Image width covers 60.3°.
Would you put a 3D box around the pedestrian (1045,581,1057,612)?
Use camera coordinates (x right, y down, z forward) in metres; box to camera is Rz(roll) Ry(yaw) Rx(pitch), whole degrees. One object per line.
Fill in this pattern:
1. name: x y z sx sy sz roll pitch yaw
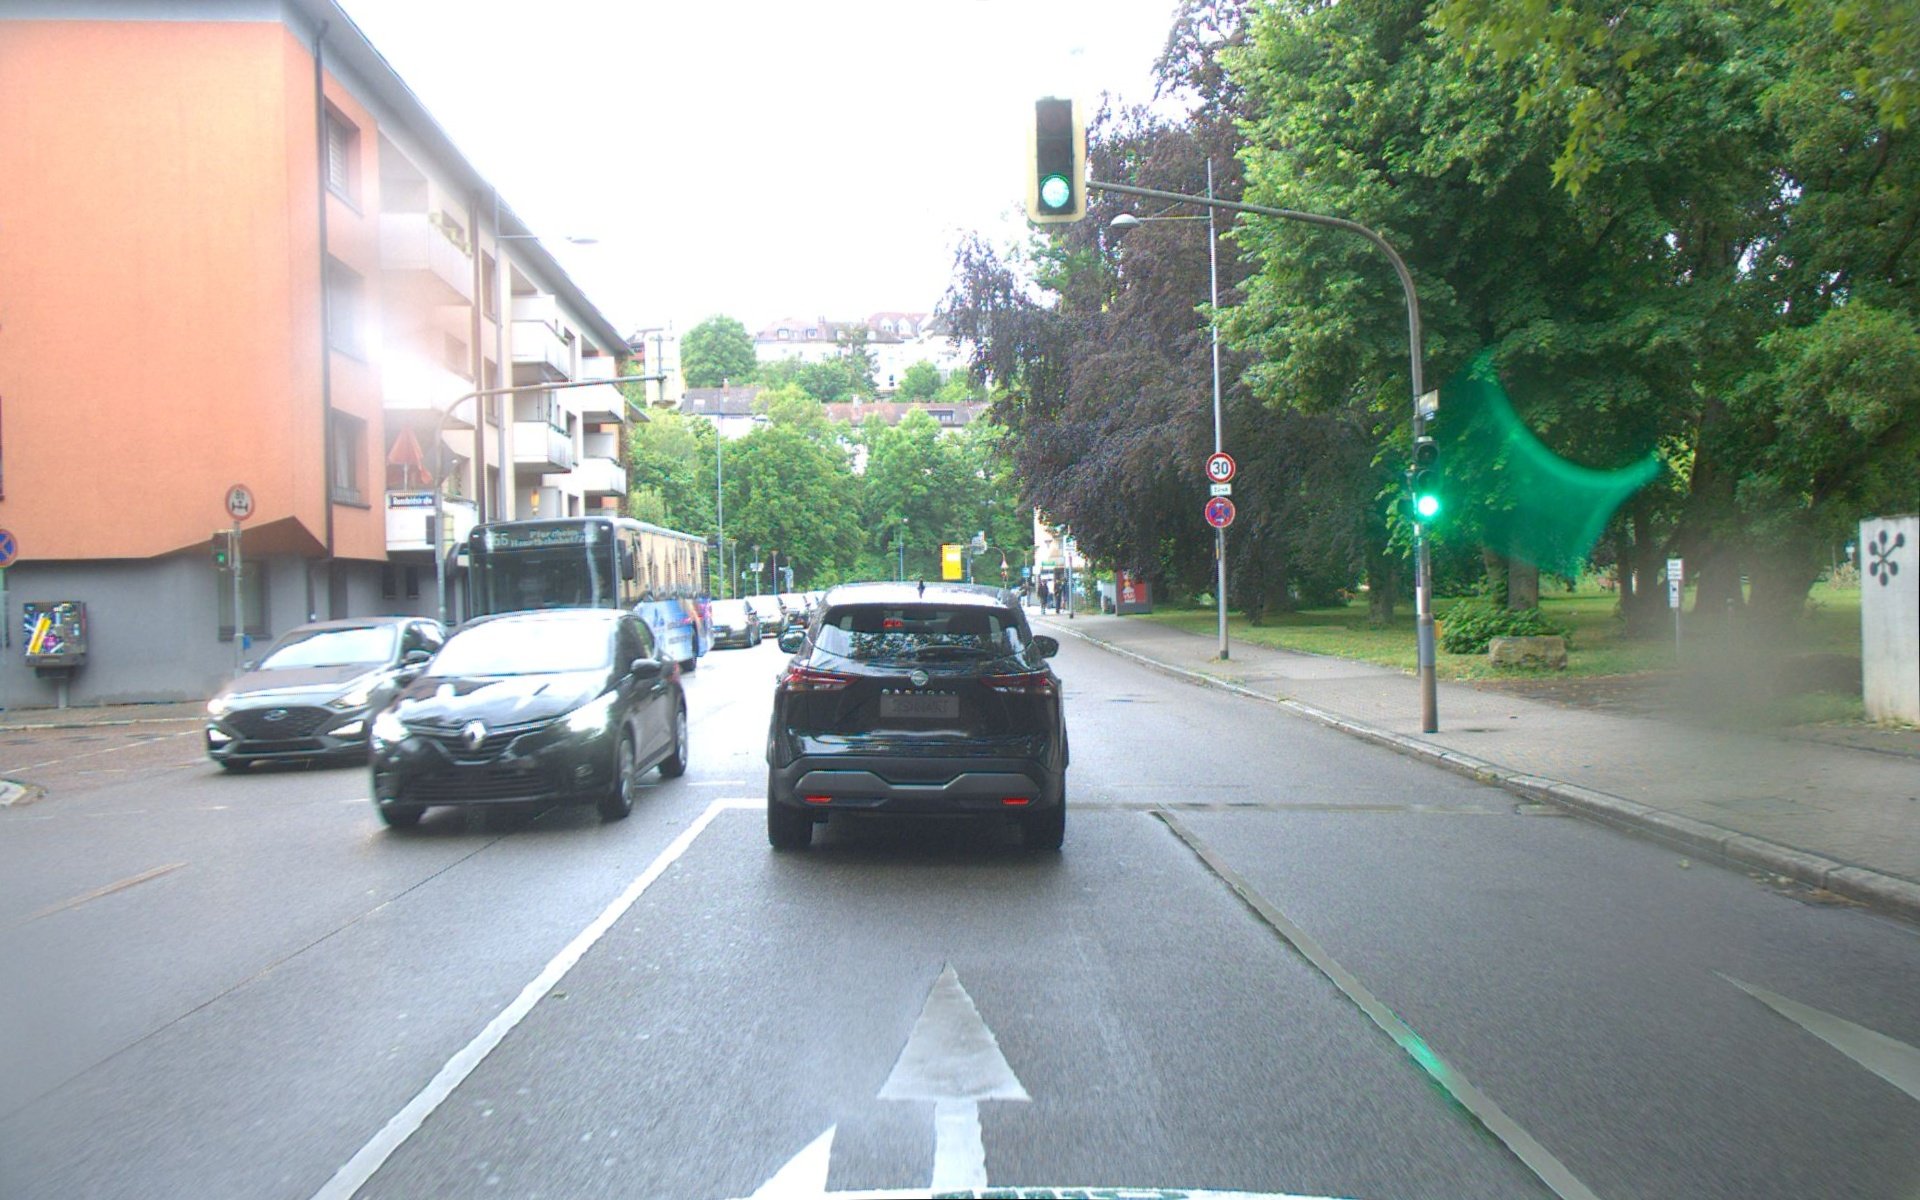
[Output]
1. pedestrian: 5.422 -0.186 98.595 0.606 1.810 0.778 -2 0 -2

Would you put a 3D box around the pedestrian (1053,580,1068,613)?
1. pedestrian: 5.214 -0.182 85.833 0.685 1.680 0.628 1 -1 -1

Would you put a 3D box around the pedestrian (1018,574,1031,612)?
1. pedestrian: 3.767 -0.416 96.664 0.752 2.222 0.711 1 -1 2

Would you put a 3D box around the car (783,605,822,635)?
1. car: -7.656 0.945 80.526 1.643 1.318 3.750 -3 0 -3

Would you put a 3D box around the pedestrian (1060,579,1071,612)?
1. pedestrian: 5.357 -0.224 84.173 0.504 1.684 0.550 1 -1 -2

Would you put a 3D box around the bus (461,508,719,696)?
1. bus: -6.954 0.035 33.137 2.710 3.026 11.777 -2 0 -1

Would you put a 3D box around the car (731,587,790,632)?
1. car: -7.164 0.320 59.725 1.712 1.495 4.215 -3 0 -3

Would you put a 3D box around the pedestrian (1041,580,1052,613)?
1. pedestrian: 4.457 -0.195 85.560 0.533 1.680 0.490 1 -1 -1

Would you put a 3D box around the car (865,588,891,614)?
1. car: -5.955 0.054 120.301 1.728 1.788 3.634 -2 0 -1

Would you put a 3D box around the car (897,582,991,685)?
1. car: -0.275 0.577 30.975 1.588 1.738 3.771 -2 0 0

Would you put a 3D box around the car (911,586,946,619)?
1. car: -1.466 0.116 77.810 1.591 1.439 3.454 -2 0 -1

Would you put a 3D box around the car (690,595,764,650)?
1. car: -7.013 0.641 50.128 1.740 1.495 4.215 -3 0 -3

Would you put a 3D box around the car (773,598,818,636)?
1. car: -7.079 0.702 71.521 1.643 1.495 4.215 -3 0 -3

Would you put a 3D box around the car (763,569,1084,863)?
1. car: -0.249 0.661 11.221 1.770 1.618 3.999 1 0 -1

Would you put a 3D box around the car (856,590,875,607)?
1. car: -8.642 -0.160 151.747 1.684 1.494 3.683 -2 0 -3

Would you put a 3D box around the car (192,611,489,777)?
1. car: -6.514 0.914 17.894 1.772 1.441 4.028 -3 0 -2

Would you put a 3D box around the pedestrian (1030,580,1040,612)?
1. pedestrian: 3.900 -0.203 85.526 0.466 1.680 0.490 1 -1 -1

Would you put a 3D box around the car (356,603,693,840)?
1. car: -3.078 0.785 12.359 1.591 1.439 3.454 -2 0 -1

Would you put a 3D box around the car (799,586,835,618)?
1. car: -7.952 0.091 92.313 1.715 1.662 3.634 -2 0 -1
